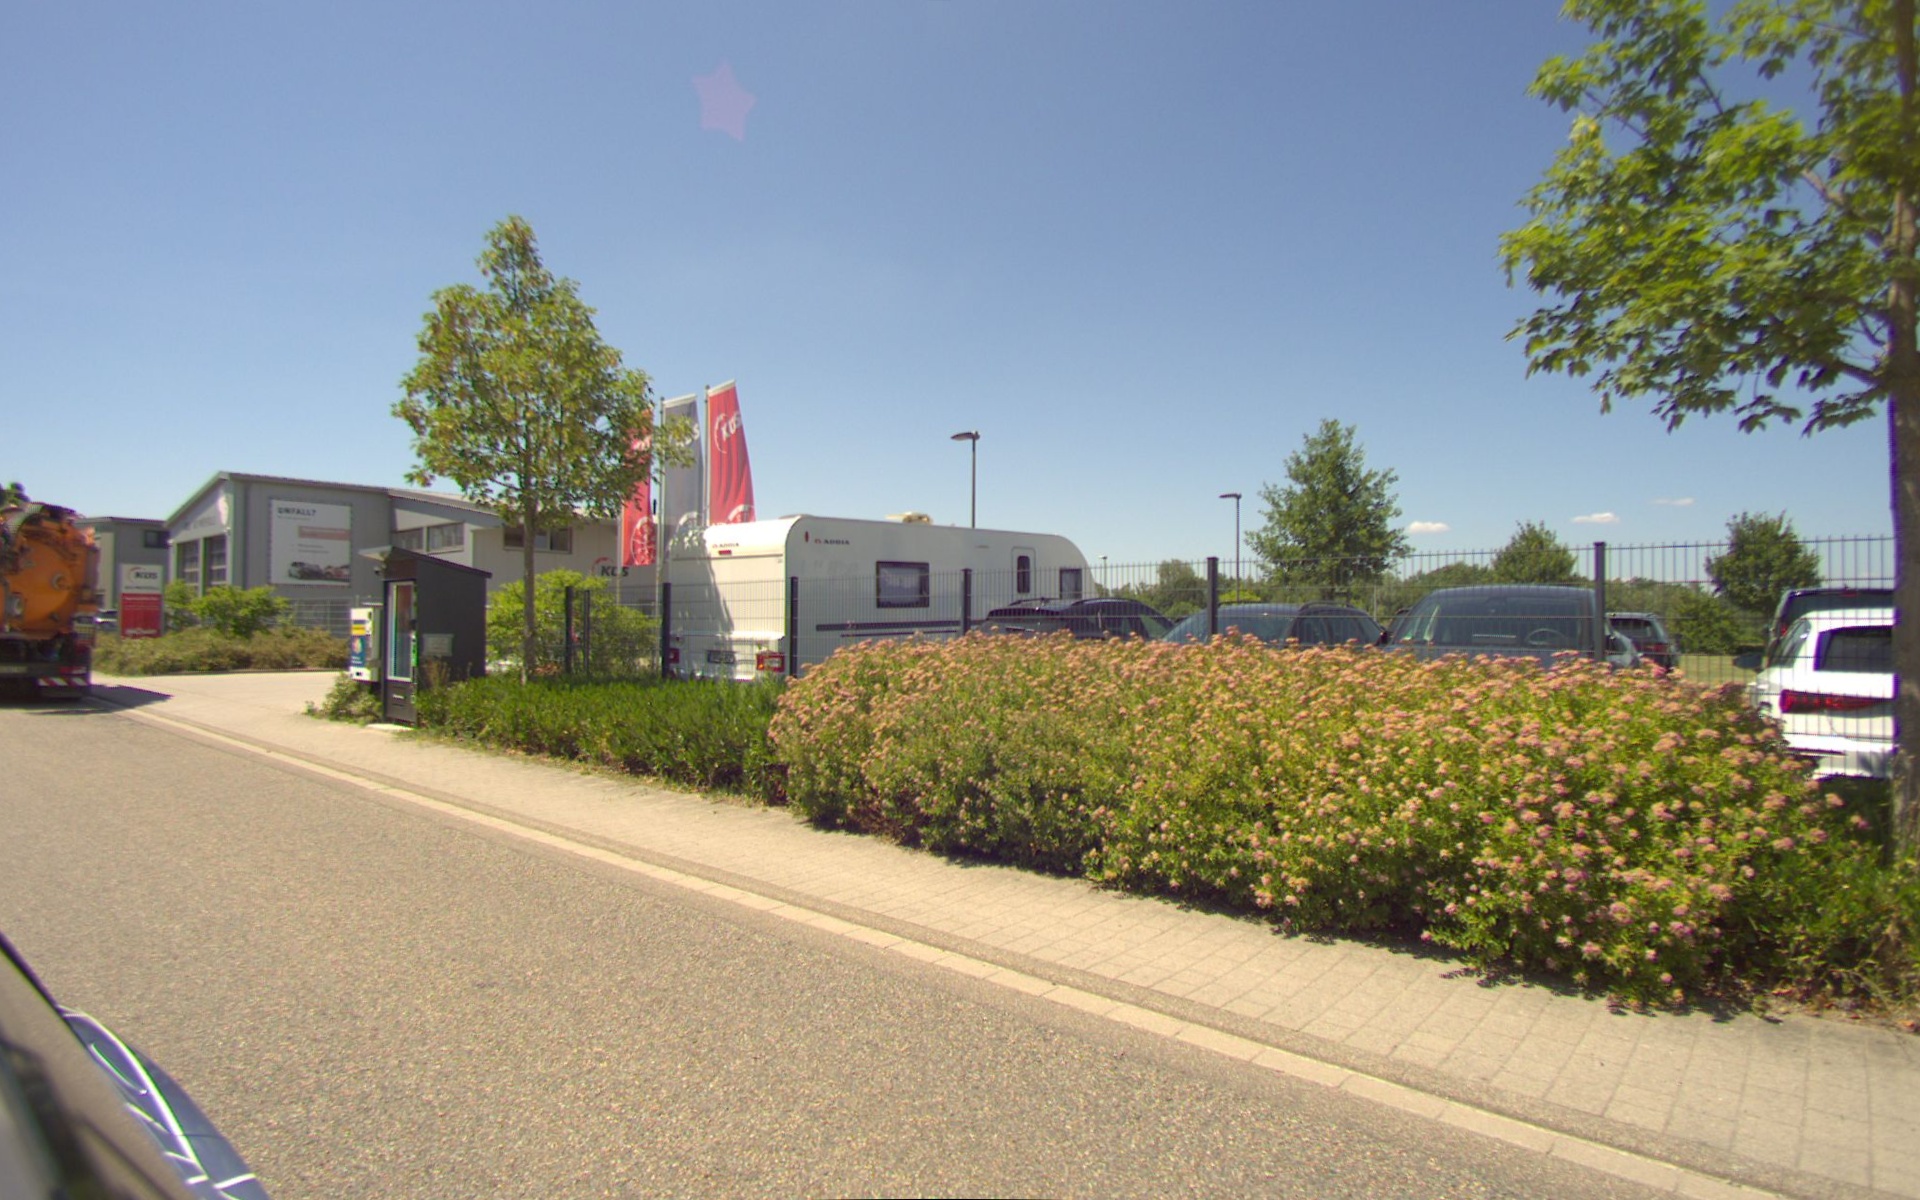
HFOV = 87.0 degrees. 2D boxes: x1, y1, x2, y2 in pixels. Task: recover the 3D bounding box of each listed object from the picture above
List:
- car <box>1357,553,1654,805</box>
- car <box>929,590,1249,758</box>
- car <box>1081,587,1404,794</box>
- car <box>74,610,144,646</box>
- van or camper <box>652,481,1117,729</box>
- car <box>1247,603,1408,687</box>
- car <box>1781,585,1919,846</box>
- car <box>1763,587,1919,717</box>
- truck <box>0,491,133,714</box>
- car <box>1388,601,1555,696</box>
[{"bbox_3d":[5.094,0.571,9.102,1.774,1.678,4.469,-1,-2,36],"label":"car"},{"bbox_3d":[1.757,0.786,12.426,1.776,1.678,4.463,-1,-2,40],"label":"car"},{"bbox_3d":[3.147,0.781,10.550,1.774,1.678,4.468,-1,-2,36],"label":"car"},{"bbox_3d":[-41.327,1.351,49.122,3.998,1.697,1.973,-1,-2,41],"label":"car"},{"bbox_3d":[-0.694,0.148,14.425,2.574,2.704,6.703,-1,-2,42],"label":"van or camper"},{"bbox_3d":[7.862,0.902,21.463,1.998,1.608,3.946,-1,-2,40],"label":"car"},{"bbox_3d":[6.950,0.676,7.086,1.775,1.463,4.165,-1,-2,38],"label":"car"},{"bbox_3d":[13.873,0.749,15.779,1.998,1.785,3.946,-1,-2,40],"label":"car"},{"bbox_3d":[-19.158,0.125,19.920,10.494,3.572,2.572,-1,-3,41],"label":"truck"},{"bbox_3d":[9.822,0.870,19.287,1.998,1.608,3.946,-1,-2,40],"label":"car"}]
